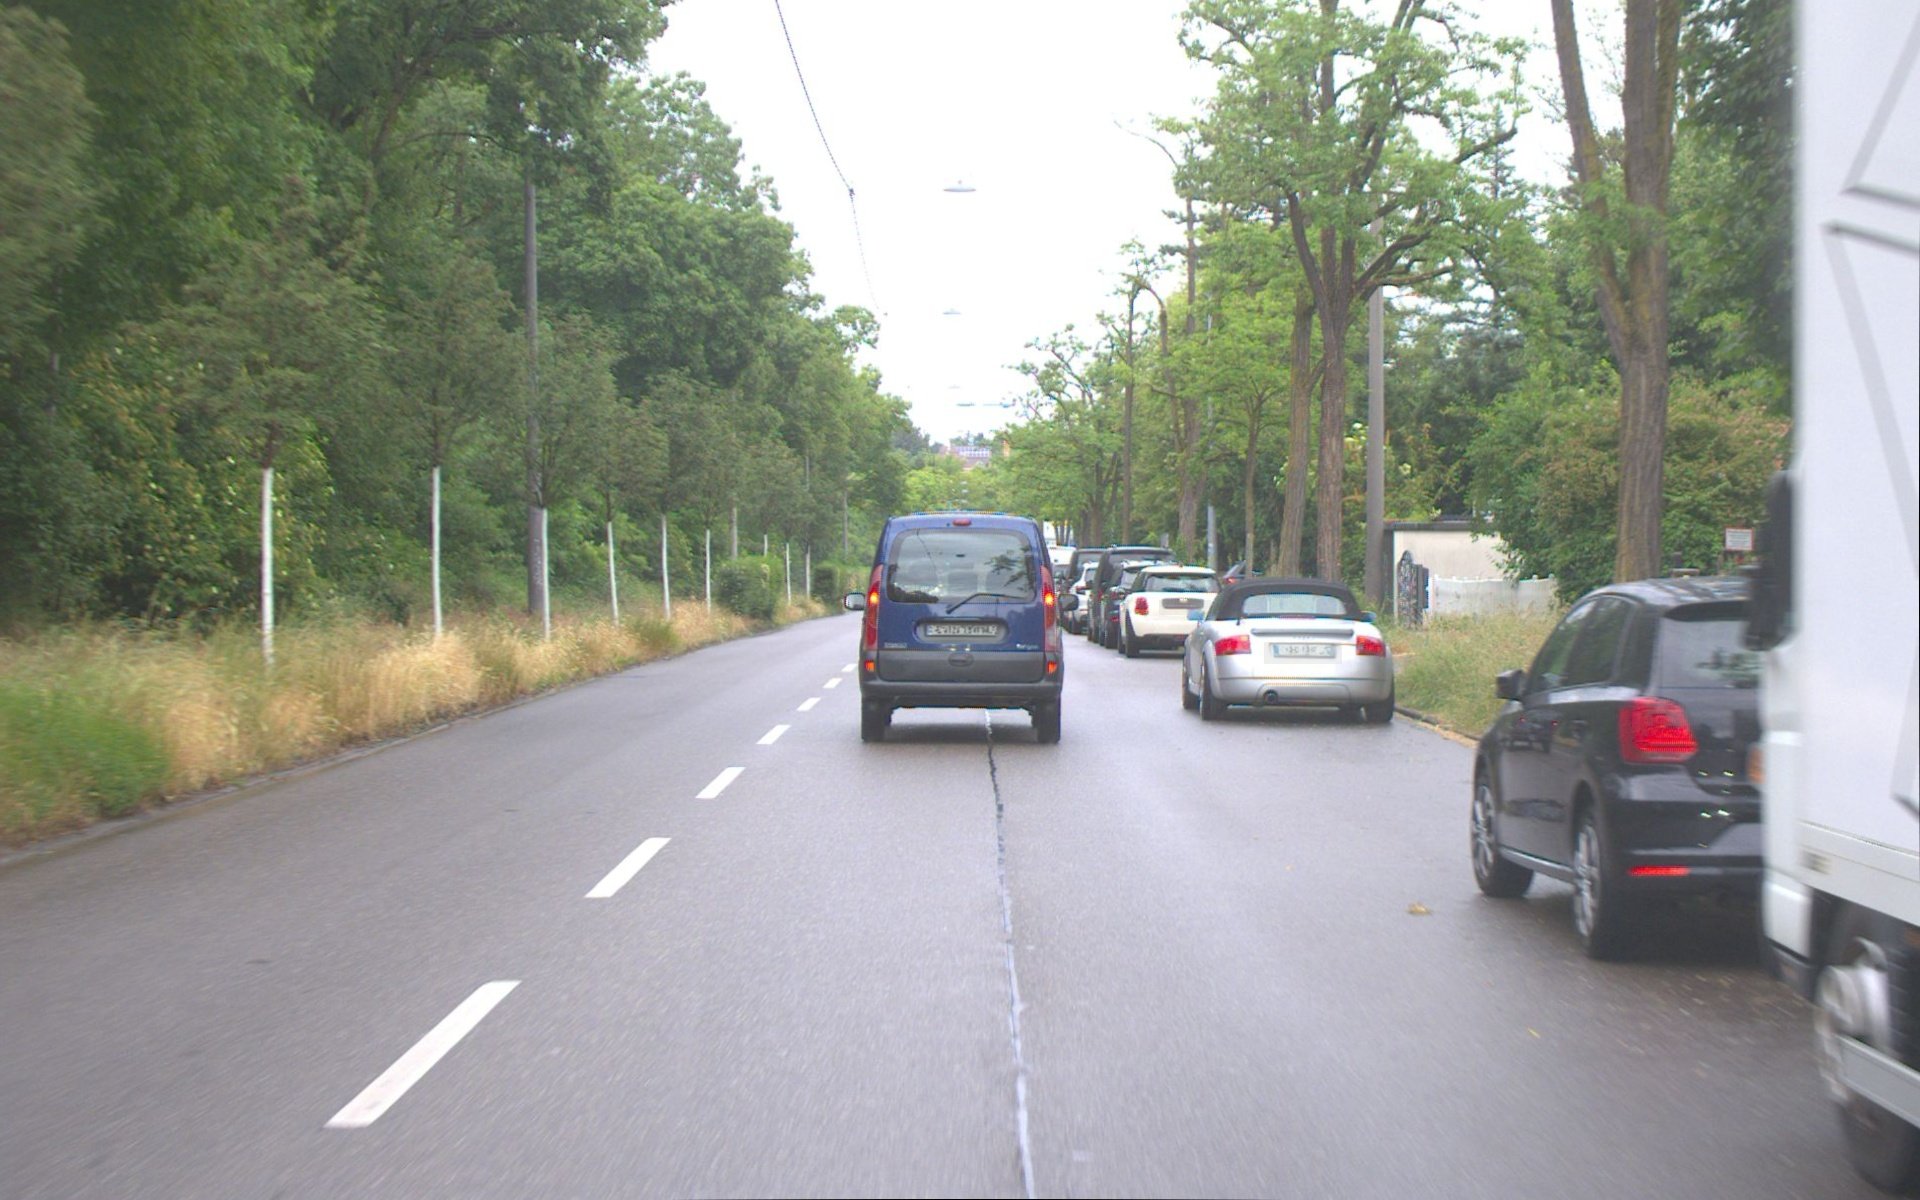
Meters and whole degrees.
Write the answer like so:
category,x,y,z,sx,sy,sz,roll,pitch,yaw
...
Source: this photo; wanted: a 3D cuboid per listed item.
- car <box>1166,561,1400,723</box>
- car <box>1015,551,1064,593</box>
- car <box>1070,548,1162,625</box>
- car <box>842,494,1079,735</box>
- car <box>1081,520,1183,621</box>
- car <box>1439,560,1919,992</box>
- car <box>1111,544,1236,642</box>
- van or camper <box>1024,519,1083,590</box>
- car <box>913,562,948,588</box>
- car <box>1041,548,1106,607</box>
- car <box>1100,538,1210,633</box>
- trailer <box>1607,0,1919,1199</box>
category,x,y,z,sx,sy,sz,roll,pitch,yaw
car,3.044,0.355,33.087,1.782,1.390,4.000,1,1,-1
car,2.939,-1.028,126.185,1.626,1.459,3.807,1,1,3
car,3.435,-0.322,76.521,1.804,1.607,4.286,1,1,0
car,-0.054,0.077,28.420,1.766,1.824,3.542,1,1,-3
car,3.272,-0.599,66.130,1.730,1.841,4.230,1,1,0
car,3.070,0.600,14.051,1.641,1.459,4.000,1,1,0
car,3.359,-0.134,54.695,1.738,1.459,3.725,1,1,0
van or camper,3.622,-1.788,133.958,2.078,2.641,5.346,1,1,0
car,-1.683,-1.426,197.893,1.860,1.475,4.156,-1,0,1
car,3.722,-0.755,113.291,1.814,1.807,4.283,2,1,-1
car,3.365,-0.283,59.947,1.678,1.550,4.076,1,1,0
trailer,3.099,-0.308,4.805,2.734,3.496,8.248,1,1,0
